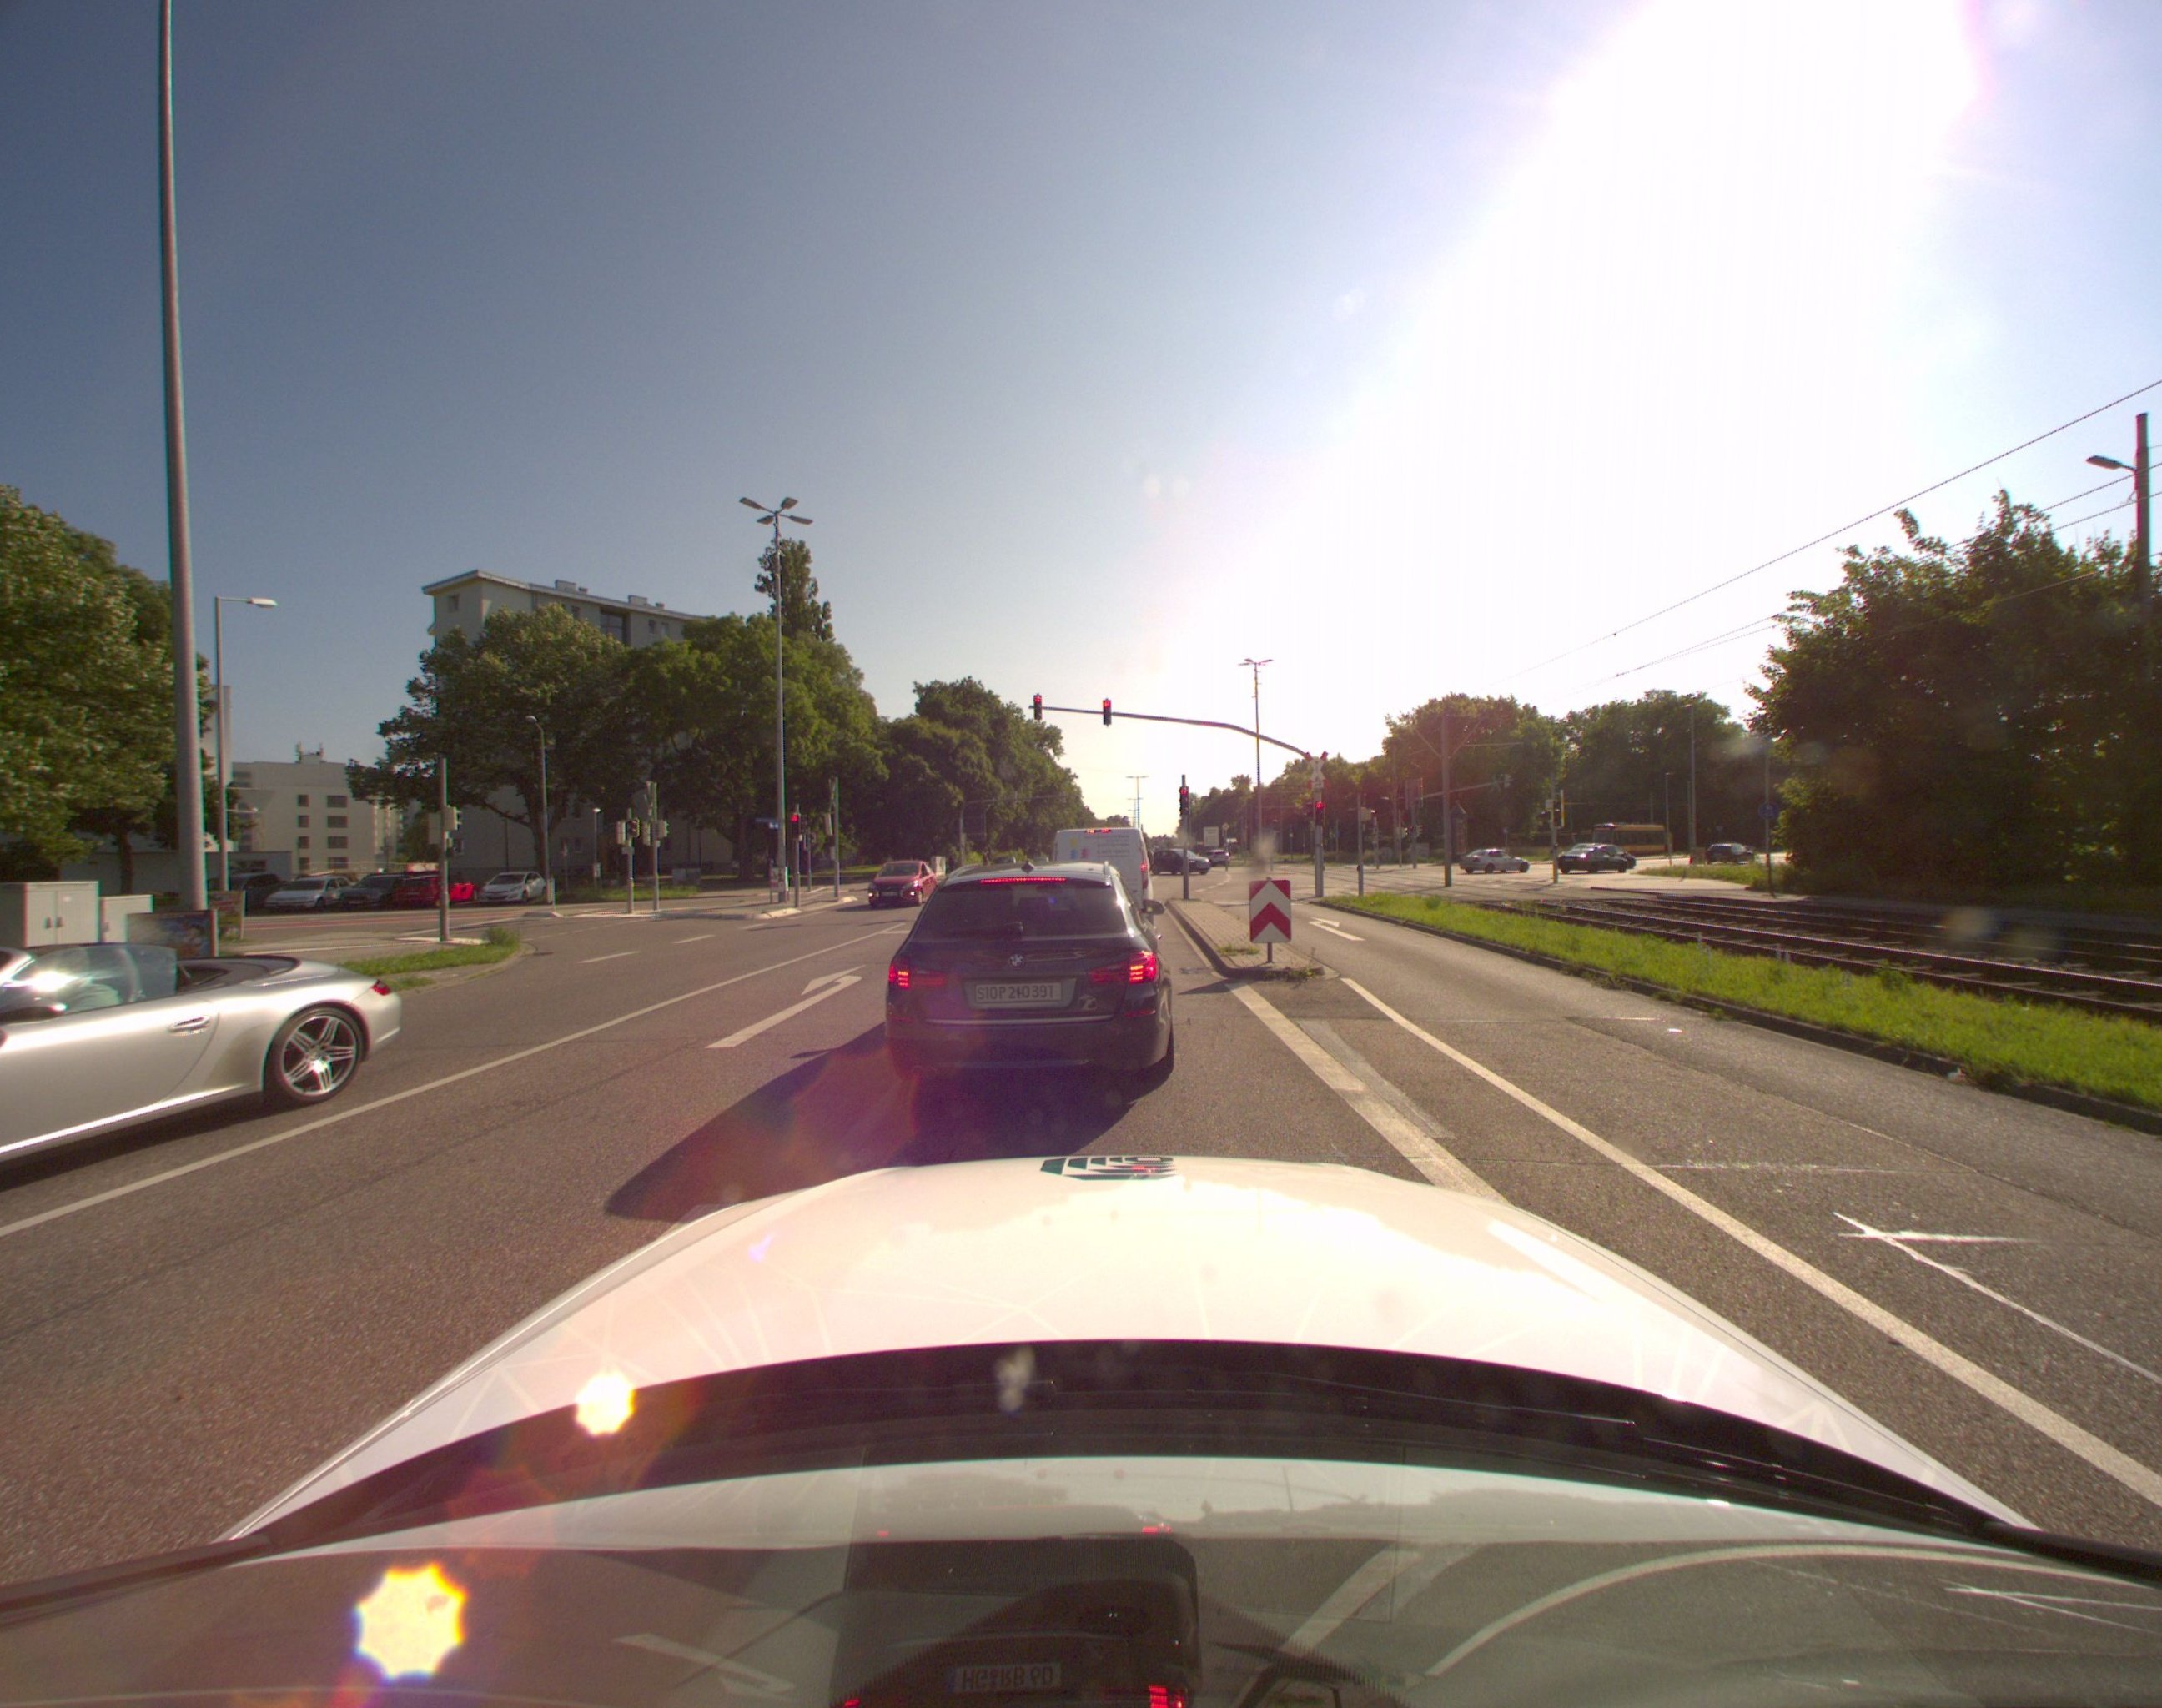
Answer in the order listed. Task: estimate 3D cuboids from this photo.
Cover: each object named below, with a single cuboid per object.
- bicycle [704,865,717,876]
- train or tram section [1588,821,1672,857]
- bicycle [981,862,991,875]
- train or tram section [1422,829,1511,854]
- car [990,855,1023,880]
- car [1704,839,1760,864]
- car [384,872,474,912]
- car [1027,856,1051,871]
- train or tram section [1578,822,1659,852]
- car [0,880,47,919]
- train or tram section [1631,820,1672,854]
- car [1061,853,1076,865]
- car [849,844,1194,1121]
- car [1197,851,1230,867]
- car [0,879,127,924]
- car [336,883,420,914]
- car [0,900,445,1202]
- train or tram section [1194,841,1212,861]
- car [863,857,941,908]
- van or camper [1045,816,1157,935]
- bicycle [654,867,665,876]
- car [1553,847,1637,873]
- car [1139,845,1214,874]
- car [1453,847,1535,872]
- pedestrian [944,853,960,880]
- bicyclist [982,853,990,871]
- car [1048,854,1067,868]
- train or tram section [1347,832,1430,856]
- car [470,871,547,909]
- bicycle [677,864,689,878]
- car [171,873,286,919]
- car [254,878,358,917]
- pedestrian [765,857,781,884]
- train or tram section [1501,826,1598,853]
[{"bbox_3d":[-31.030,1.368,68.232,0.673,0.919,2.382,-1,0,-33],"label":"bicycle"},{"bbox_3d":[57.943,-1.569,85.867,11.898,3.579,3.022,-1,0,-34],"label":"train or tram section"},{"bbox_3d":[-8.127,1.207,69.755,0.618,1.040,2.071,-1,0,-1],"label":"bicycle"},{"bbox_3d":[60.001,-1.842,126.949,12.072,3.579,3.073,-1,0,38],"label":"train or tram section"},{"bbox_3d":[-5.017,0.878,55.156,1.626,1.560,3.679,-3,0,3],"label":"car"},{"bbox_3d":[46.825,-0.172,58.531,4.654,1.665,1.978,-1,0,-37],"label":"car"},{"bbox_3d":[-30.854,1.754,38.684,1.782,1.415,3.982,-1,4,-14],"label":"car"},{"bbox_3d":[-3.973,0.889,77.778,1.771,1.414,4.249,-1,0,4],"label":"car"},{"bbox_3d":[69.659,-2.067,106.054,3.031,3.579,12.241,-1,0,3],"label":"train or tram section"},{"bbox_3d":[-46.081,2.021,33.669,1.785,1.476,4.686,-1,3,-19],"label":"car"},{"bbox_3d":[66.102,-1.918,94.574,3.015,3.579,12.308,-1,0,31],"label":"train or tram section"},{"bbox_3d":[-1.721,0.646,111.953,1.738,1.562,4.003,-3,0,3],"label":"car"},{"bbox_3d":[-0.263,0.713,6.568,1.896,1.506,4.067,-1,0,2],"label":"car"},{"bbox_3d":[12.900,0.450,79.345,1.796,1.486,3.880,-1,0,-14],"label":"car"},{"bbox_3d":[-44.368,2.014,35.222,1.785,1.477,4.785,-1,3,-19],"label":"car"},{"bbox_3d":[-32.776,2.054,38.089,1.463,1.193,3.767,-1,0,-15],"label":"car"},{"bbox_3d":[-6.106,1.048,4.426,1.772,1.310,4.289,-1,0,3],"label":"car"},{"bbox_3d":[23.113,-0.472,154.535,2.782,3.618,12.976,0,0,6],"label":"train or tram section"},{"bbox_3d":[-5.924,0.902,27.318,1.688,1.498,3.677,-2,0,1],"label":"car"},{"bbox_3d":[0.492,0.380,16.984,1.985,2.096,4.602,-1,0,3],"label":"van or camper"},{"bbox_3d":[-34.311,1.437,66.238,0.587,0.708,2.215,-1,0,-33],"label":"bicycle"},{"bbox_3d":[29.463,0.329,46.649,4.415,1.354,1.984,-1,0,-25],"label":"car"},{"bbox_3d":[6.004,0.365,51.584,4.564,1.722,1.659,-2,-1,44],"label":"car"},{"bbox_3d":[24.751,0.306,48.836,4.411,1.354,1.986,-1,0,-21],"label":"car"},{"bbox_3d":[-8.677,0.844,54.840,0.811,1.752,0.933,-1,0,7],"label":"pedestrian"},{"bbox_3d":[-8.143,0.697,69.703,0.605,1.560,0.602,-1,0,-1],"label":"bicyclist"},{"bbox_3d":[-2.835,0.848,99.546,1.694,1.465,4.374,-3,-3,5],"label":"car"},{"bbox_3d":[50.391,-1.668,133.843,12.279,3.579,3.073,-1,0,33],"label":"train or tram section"},{"bbox_3d":[-27.910,1.696,39.869,1.783,1.439,3.980,-1,3,-15],"label":"car"},{"bbox_3d":[-32.810,1.386,67.112,0.615,1.066,1.896,0,-2,-34],"label":"bicycle"},{"bbox_3d":[-38.062,1.829,36.521,1.783,1.811,3.977,-1,0,-16],"label":"car"},{"bbox_3d":[-35.417,1.935,37.355,1.783,1.521,3.977,-1,0,-16],"label":"car"},{"bbox_3d":[-19.624,1.027,51.840,0.619,1.713,0.707,-1,0,14],"label":"pedestrian"},{"bbox_3d":[67.336,-1.980,117.561,3.064,3.579,12.108,-1,0,-31],"label":"train or tram section"}]
